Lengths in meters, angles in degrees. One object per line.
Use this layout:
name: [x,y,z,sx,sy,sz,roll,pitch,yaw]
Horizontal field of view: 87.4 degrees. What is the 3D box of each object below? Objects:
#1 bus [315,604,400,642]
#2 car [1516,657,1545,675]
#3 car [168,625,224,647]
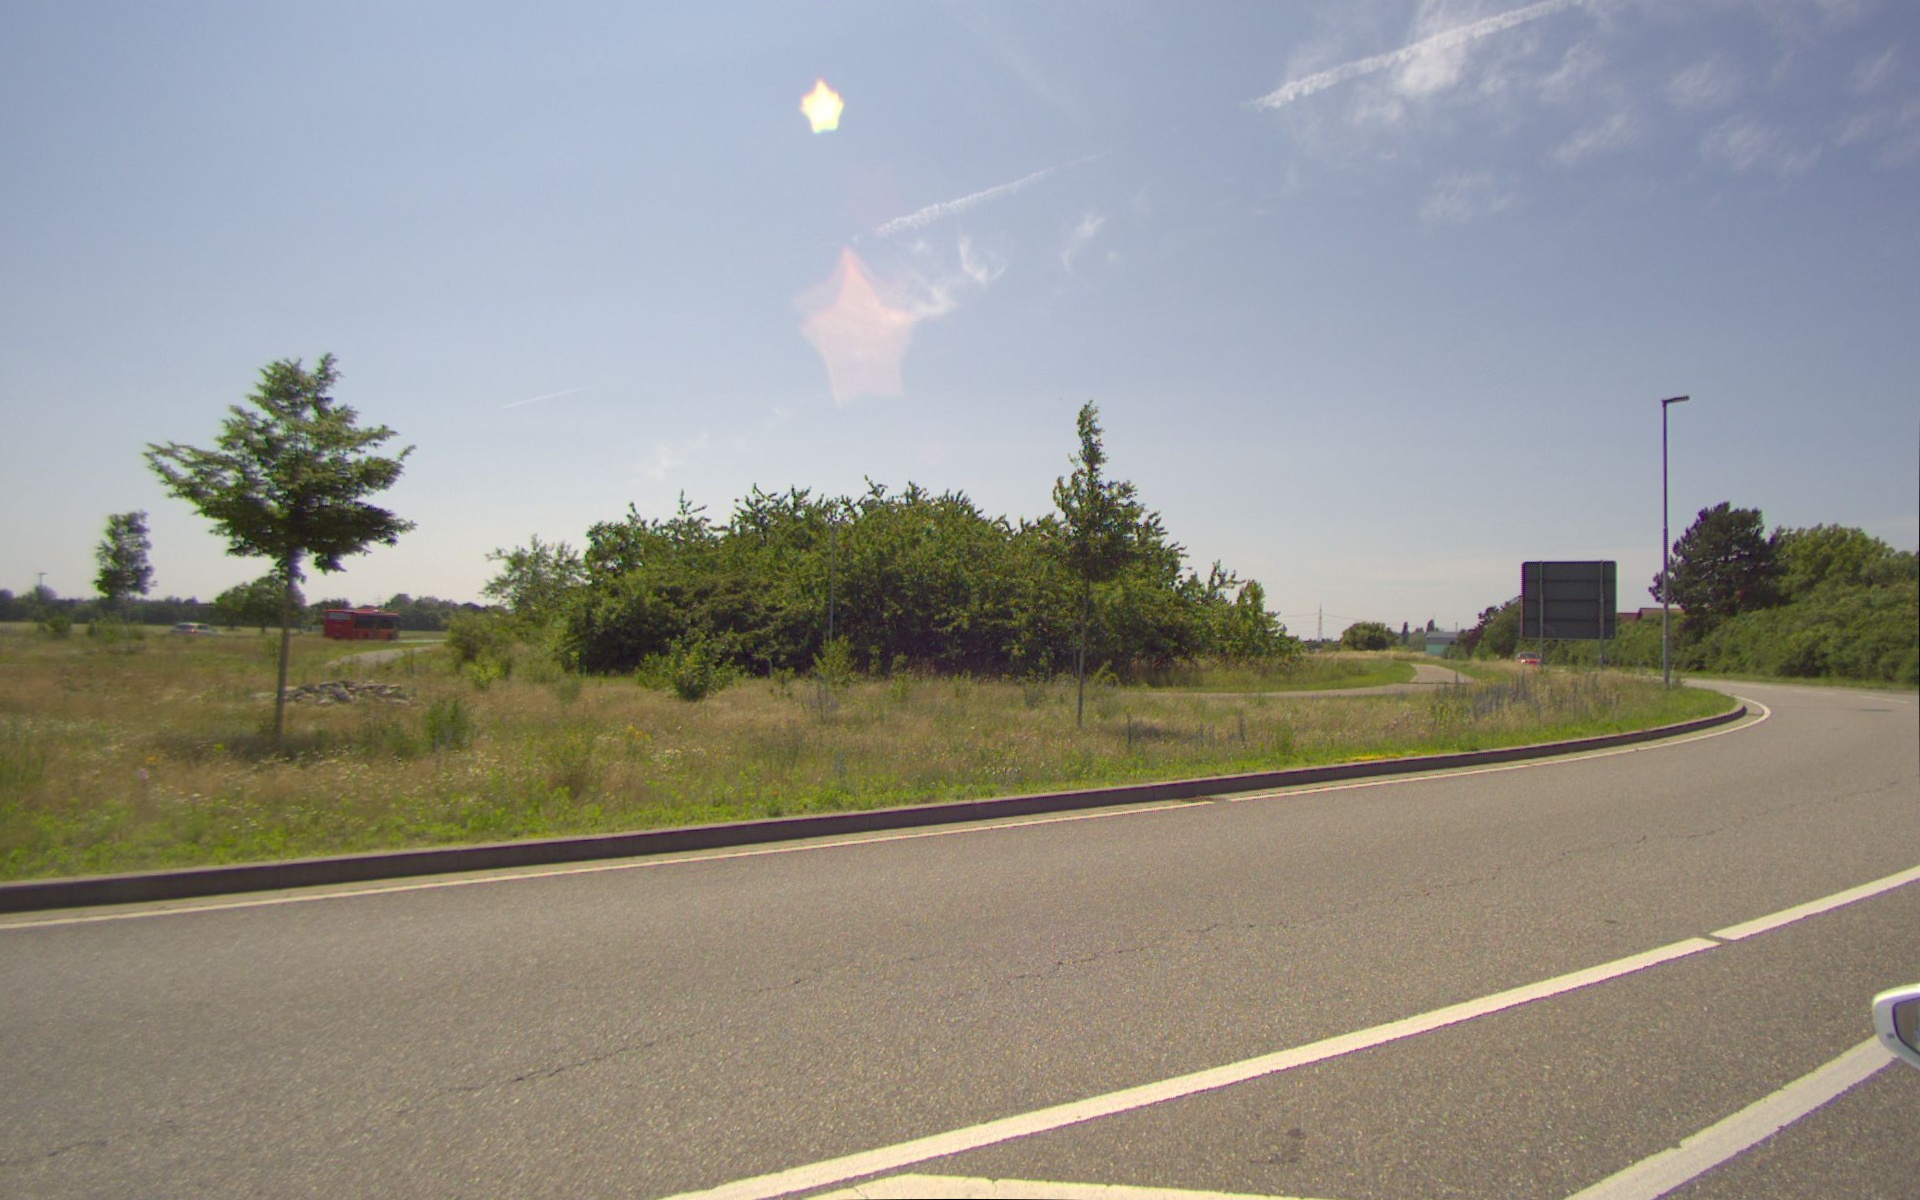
bus: [-58.357,2.361,97.777,3.256,3.352,11.965,2,-3,-12]
car: [48.722,5.634,85.803,1.628,1.452,3.736,-1,-3,21]
car: [-53.310,2.514,70.149,1.699,1.483,3.594,2,-3,-13]
